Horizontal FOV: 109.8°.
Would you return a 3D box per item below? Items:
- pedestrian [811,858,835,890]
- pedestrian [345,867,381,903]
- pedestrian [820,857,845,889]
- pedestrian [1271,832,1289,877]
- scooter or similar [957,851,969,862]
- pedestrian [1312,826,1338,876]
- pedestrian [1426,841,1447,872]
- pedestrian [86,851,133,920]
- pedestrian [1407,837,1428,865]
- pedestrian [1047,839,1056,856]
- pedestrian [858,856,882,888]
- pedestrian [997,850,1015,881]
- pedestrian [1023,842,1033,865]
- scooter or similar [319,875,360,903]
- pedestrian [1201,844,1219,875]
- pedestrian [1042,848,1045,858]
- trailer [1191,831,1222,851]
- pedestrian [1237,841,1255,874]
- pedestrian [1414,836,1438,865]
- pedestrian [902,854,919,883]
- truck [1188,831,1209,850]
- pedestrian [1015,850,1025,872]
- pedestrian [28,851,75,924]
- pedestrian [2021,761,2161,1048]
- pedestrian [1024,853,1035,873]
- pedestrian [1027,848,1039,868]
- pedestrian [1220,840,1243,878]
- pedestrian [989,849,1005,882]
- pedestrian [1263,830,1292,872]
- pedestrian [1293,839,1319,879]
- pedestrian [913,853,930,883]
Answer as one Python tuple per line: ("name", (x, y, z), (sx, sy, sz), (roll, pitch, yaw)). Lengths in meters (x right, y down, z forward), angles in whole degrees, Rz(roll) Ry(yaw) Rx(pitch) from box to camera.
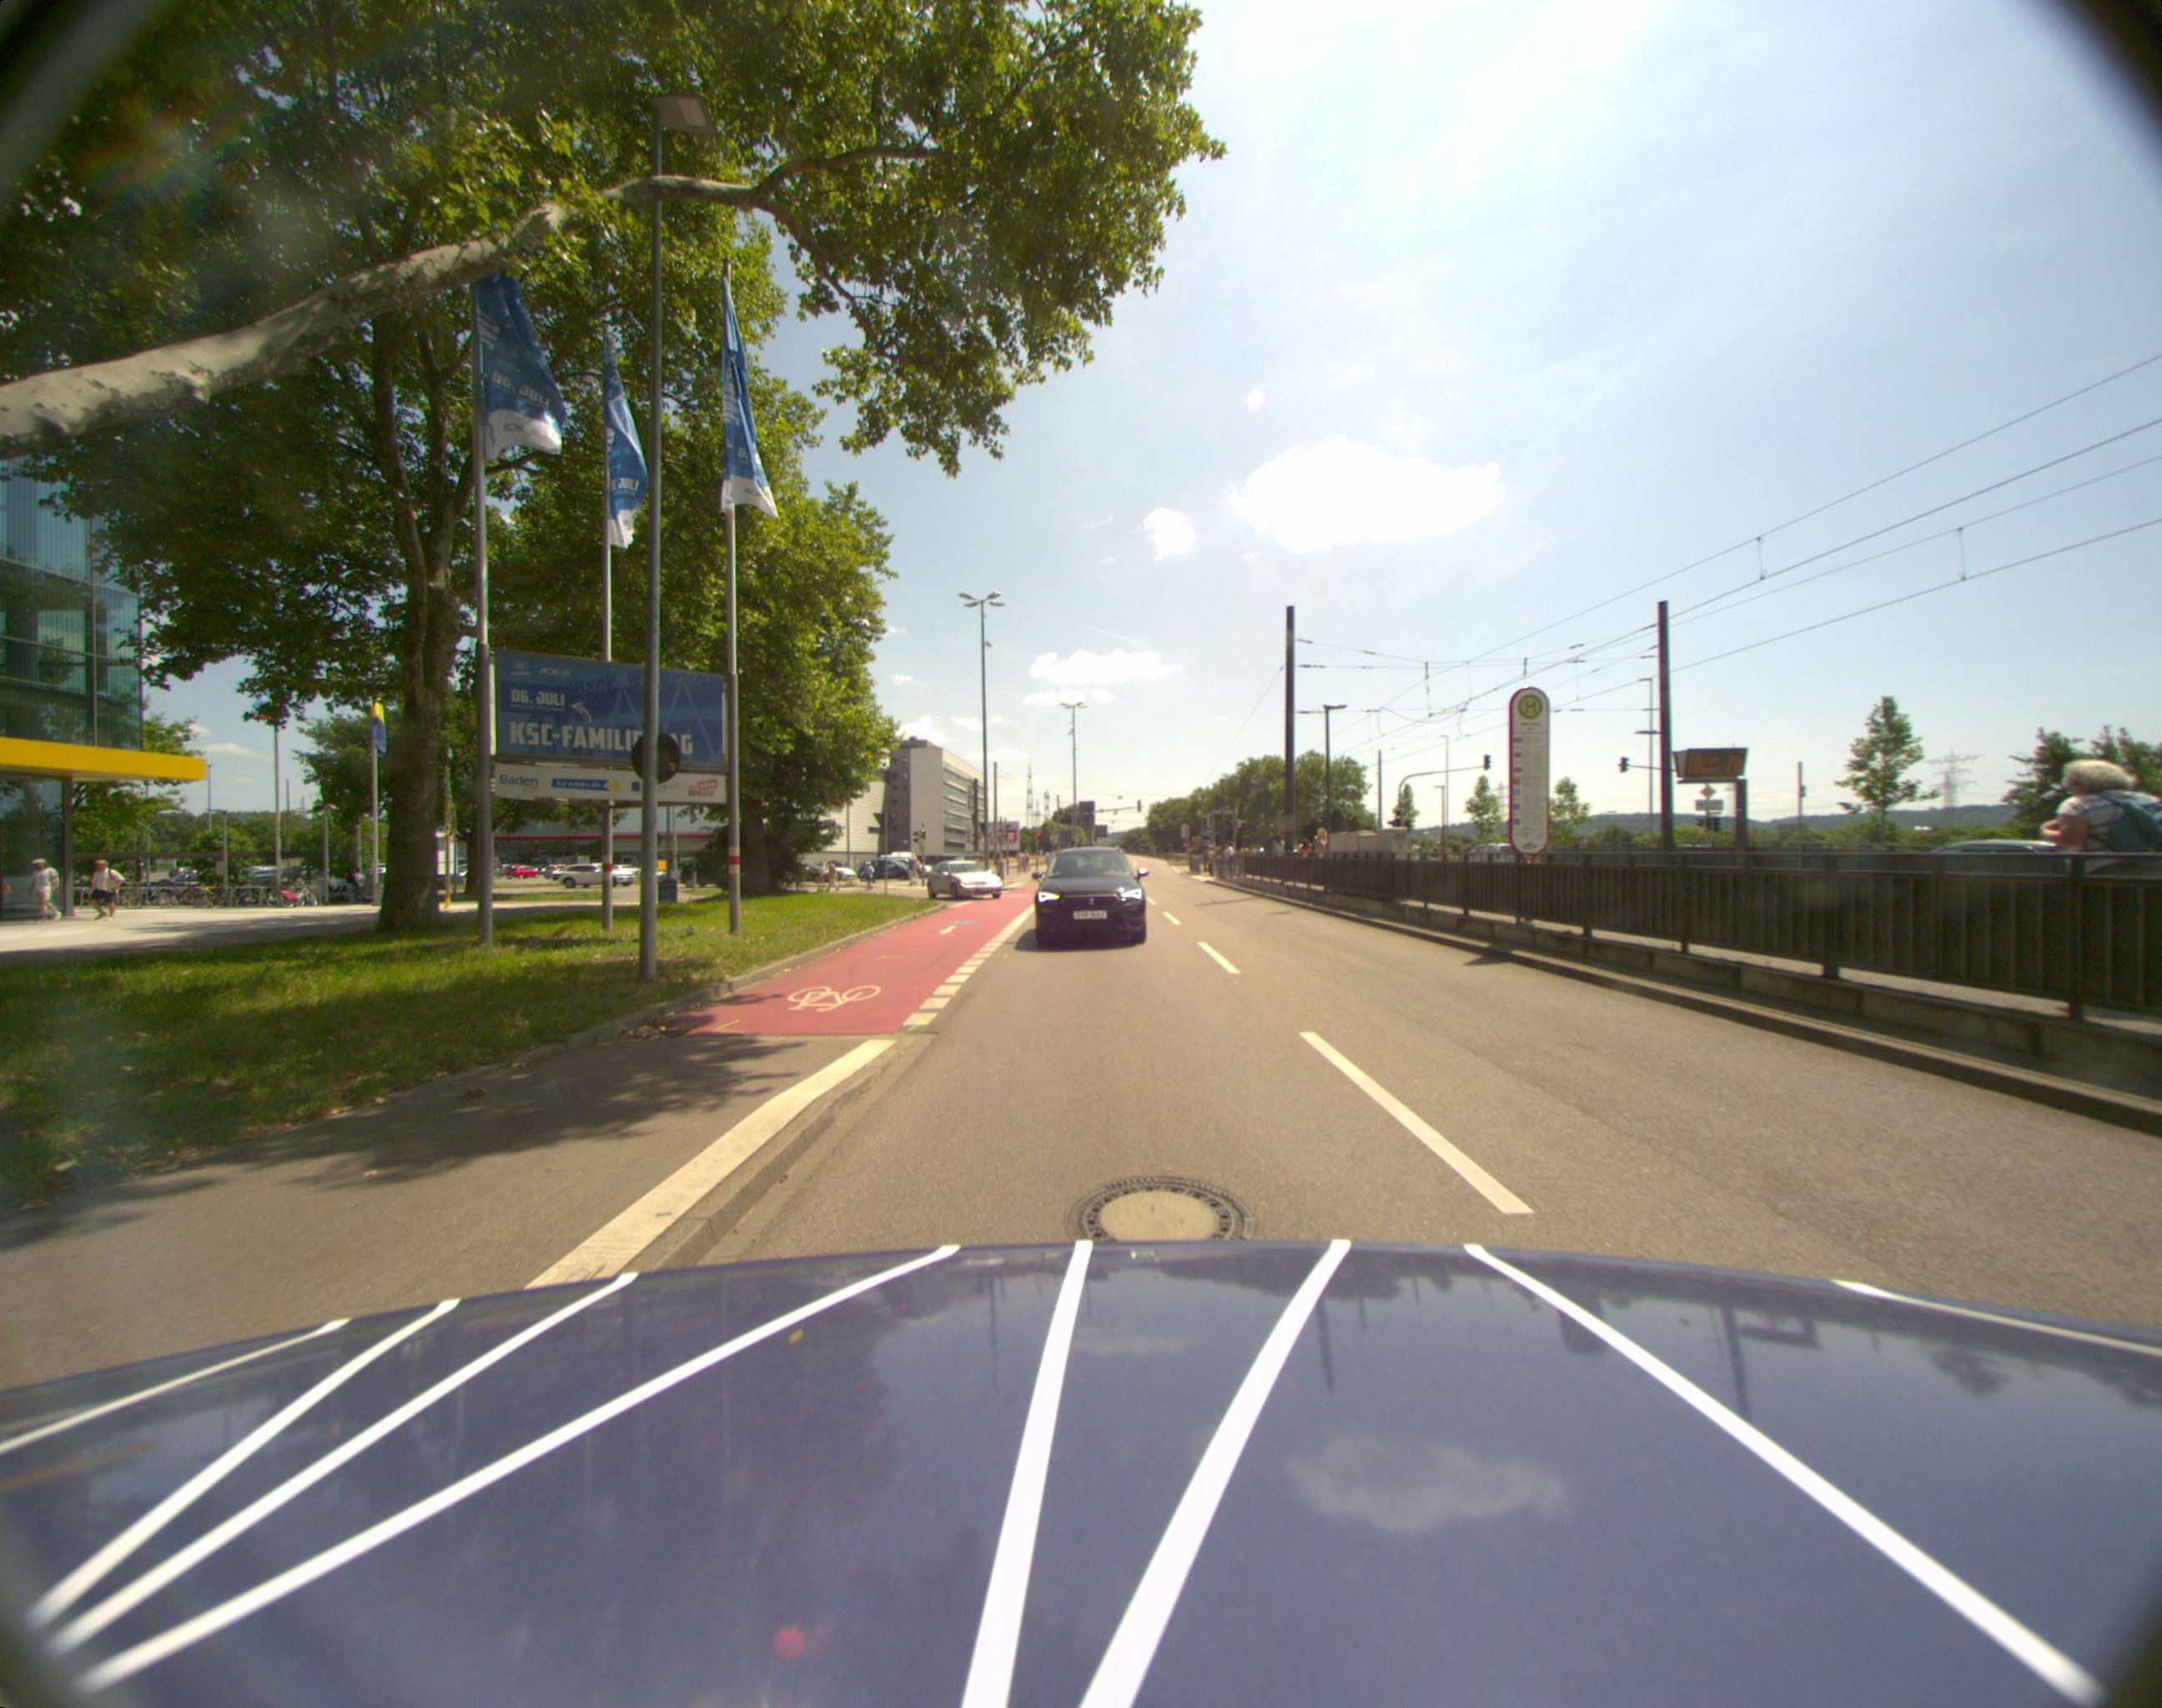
("pedestrian", (-13.668, 1.074, 40.204), (0.796, 1.650, 0.853), (-1, 1, 19))
("pedestrian", (-32.414, 1.410, 34.317), (0.920, 1.577, 0.633), (-1, 1, -4))
("pedestrian", (-12.957, 0.994, 39.640), (0.796, 1.650, 0.853), (-1, 1, 19))
("pedestrian", (7.027, 0.023, 26.825), (0.498, 1.569, 0.557), (-1, 1, 0))
("scooter or similar", (-12.952, 0.249, 83.405), (0.479, 1.120, 1.280), (-1, 5, 31))
("pedestrian", (8.275, -0.113, 25.778), (0.615, 1.672, 0.719), (-2, 1, 0))
("pedestrian", (18.866, 0.126, 40.355), (0.763, 1.662, 0.764), (-1, 1, -1))
("pedestrian", (-29.187, 0.936, 22.827), (0.797, 2.002, 0.734), (-1, 1, 32))
("pedestrian", (18.454, -0.173, 41.690), (0.763, 1.539, 0.764), (-1, 1, -1))
("pedestrian", (-2.583, -0.575, 66.992), (0.591, 1.467, 0.805), (-3, 1, -10))
("pedestrian", (-11.114, 0.929, 39.995), (0.795, 1.650, 0.853), (-1, 1, 22))
("pedestrian", (-3.977, 0.587, 40.367), (0.896, 1.597, 0.767), (-2, 1, -2))
("pedestrian", (-3.919, -0.040, 56.210), (0.528, 1.656, 0.640), (-1, 1, 6))
("scooter or similar", (-33.504, 1.574, 34.340), (1.076, 1.191, 0.728), (-2, 1, 0))
("pedestrian", (6.836, 0.282, 40.292), (0.787, 1.564, 0.764), (-2, 1, -2))
("pedestrian", (-6.759, -0.174, 136.410), (0.518, 1.783, 0.634), (-1, 1, 2))
("trailer", (25.159, -2.674, 153.023), (3.123, 3.849, 15.476), (-1, 1, -2))
("pedestrian", (8.435, 0.191, 38.896), (0.734, 1.663, 0.678), (-2, 1, -2))
("pedestrian", (19.298, -0.205, 42.537), (0.959, 1.601, 0.764), (-1, 1, -1))
("pedestrian", (-9.842, 0.827, 43.771), (0.603, 1.629, 0.864), (-1, 3, 10))
("truck", (24.910, -2.875, 161.369), (3.134, 4.016, 7.472), (-1, 1, -2))
("pedestrian", (-4.512, 0.493, 56.165), (0.528, 1.571, 0.612), (-1, 1, 6))
("pedestrian", (-29.434, 0.938, 21.729), (0.797, 2.002, 0.734), (0, 1, 37))
("pedestrian", (6.588, 0.283, 4.657), (0.734, 1.656, 0.742), (-1, 1, 1))
("pedestrian", (-4.398, 0.777, 64.960), (0.785, 1.663, 0.945), (-2, 1, -12))
("pedestrian", (-4.439, 0.357, 70.550), (0.807, 1.750, 0.795), (-3, 2, -32))
("pedestrian", (7.198, 0.222, 36.341), (0.865, 1.792, 0.883), (-2, 1, -2))
("pedestrian", (-4.392, 0.580, 39.567), (0.725, 1.674, 0.624), (-2, 1, -2))
("pedestrian", (7.686, -0.134, 29.802), (0.892, 1.596, 0.924), (-1, 1, 0))
("pedestrian", (7.634, 0.160, 25.816), (0.615, 1.337, 0.719), (-2, 1, 0))
("pedestrian", (-9.203, 0.803, 43.749), (0.607, 1.629, 0.864), (-1, 3, 10))
